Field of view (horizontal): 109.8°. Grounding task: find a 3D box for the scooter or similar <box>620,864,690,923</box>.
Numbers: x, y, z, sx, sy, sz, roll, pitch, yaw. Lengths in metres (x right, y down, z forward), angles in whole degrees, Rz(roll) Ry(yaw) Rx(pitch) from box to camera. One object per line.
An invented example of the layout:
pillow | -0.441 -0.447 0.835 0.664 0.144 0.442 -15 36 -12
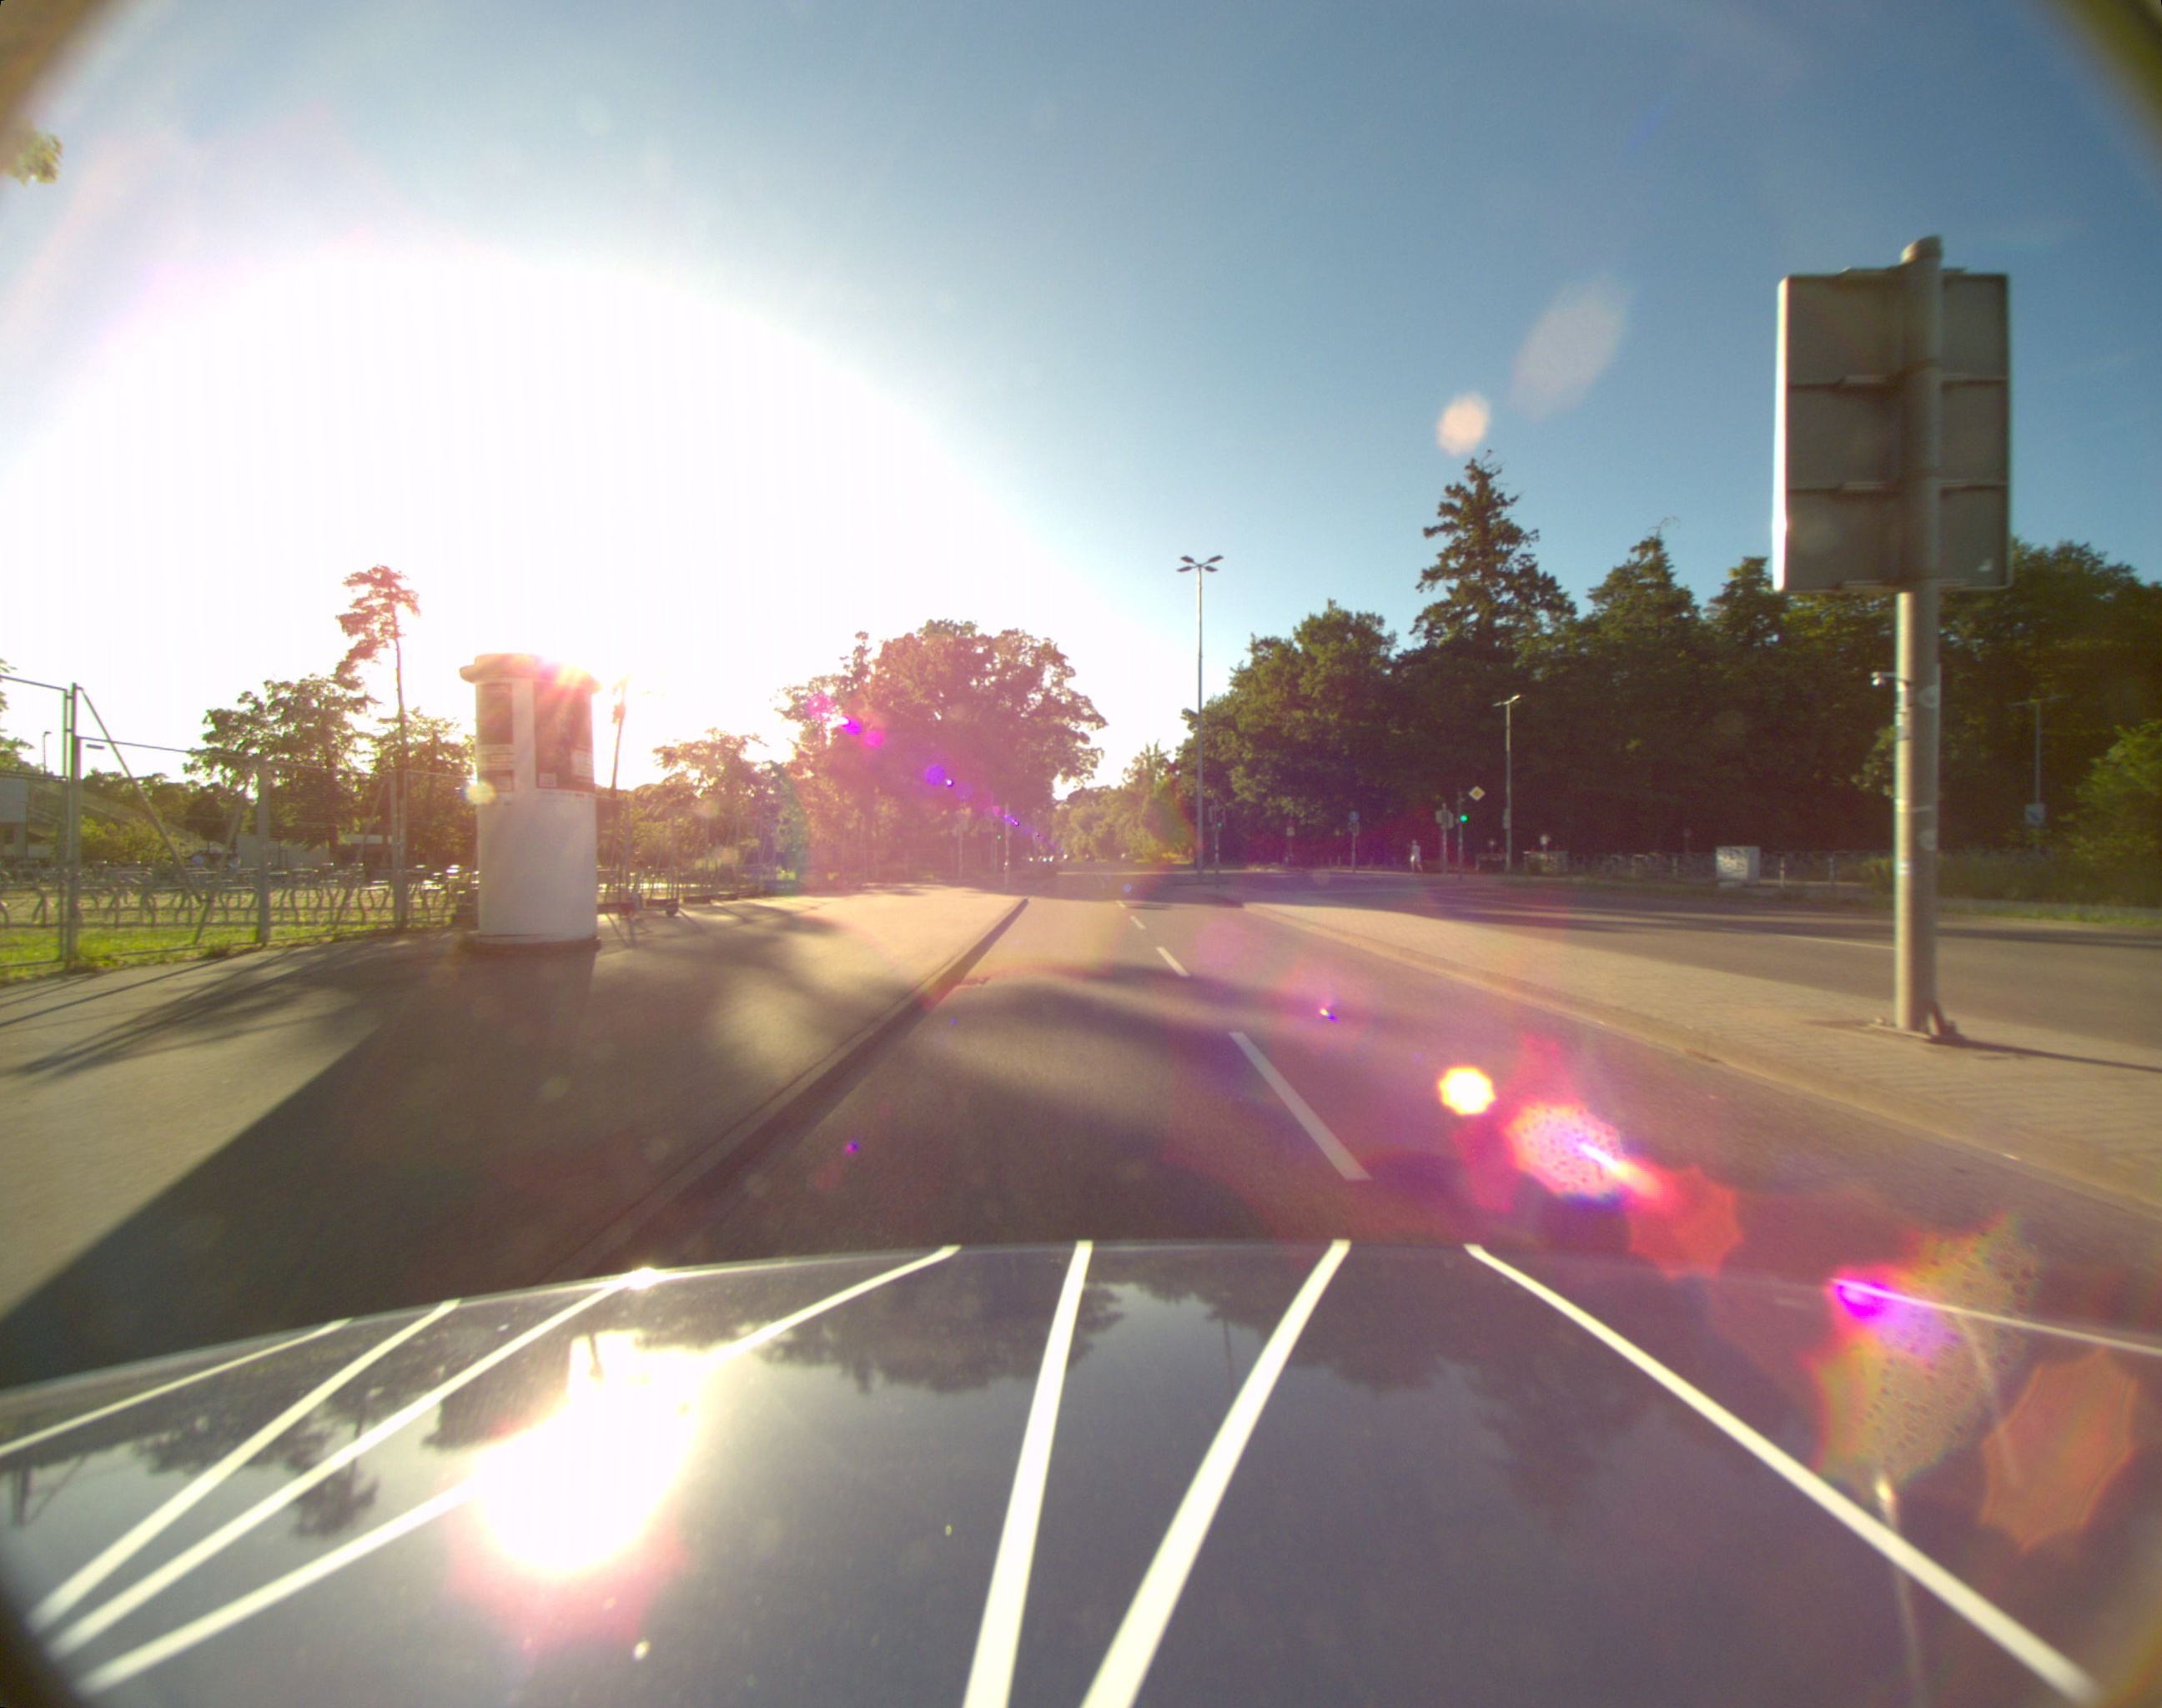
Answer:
scooter or similar | -9.272 0.839 16.572 1.303 1.230 0.334 0 1 -34

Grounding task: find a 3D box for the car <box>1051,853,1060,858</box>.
car | -7.275 0.480 216.160 1.876 1.346 4.004 0 0 -14

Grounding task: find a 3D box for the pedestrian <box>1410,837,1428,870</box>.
pedestrian | 18.374 -0.035 41.281 0.691 1.764 0.734 0 0 3

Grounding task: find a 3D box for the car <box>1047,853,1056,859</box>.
car | -7.269 0.529 187.992 1.842 1.395 3.996 -2 0 -10

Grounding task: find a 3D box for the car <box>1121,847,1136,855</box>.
car | 7.555 -0.451 120.718 1.619 1.346 4.007 0 0 -6

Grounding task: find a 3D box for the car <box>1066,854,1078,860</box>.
car | -2.379 0.725 194.126 2.134 1.346 4.405 0 0 -13

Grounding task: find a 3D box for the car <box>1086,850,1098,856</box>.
car | 2.349 -0.198 162.762 1.875 1.346 4.006 0 0 -9
